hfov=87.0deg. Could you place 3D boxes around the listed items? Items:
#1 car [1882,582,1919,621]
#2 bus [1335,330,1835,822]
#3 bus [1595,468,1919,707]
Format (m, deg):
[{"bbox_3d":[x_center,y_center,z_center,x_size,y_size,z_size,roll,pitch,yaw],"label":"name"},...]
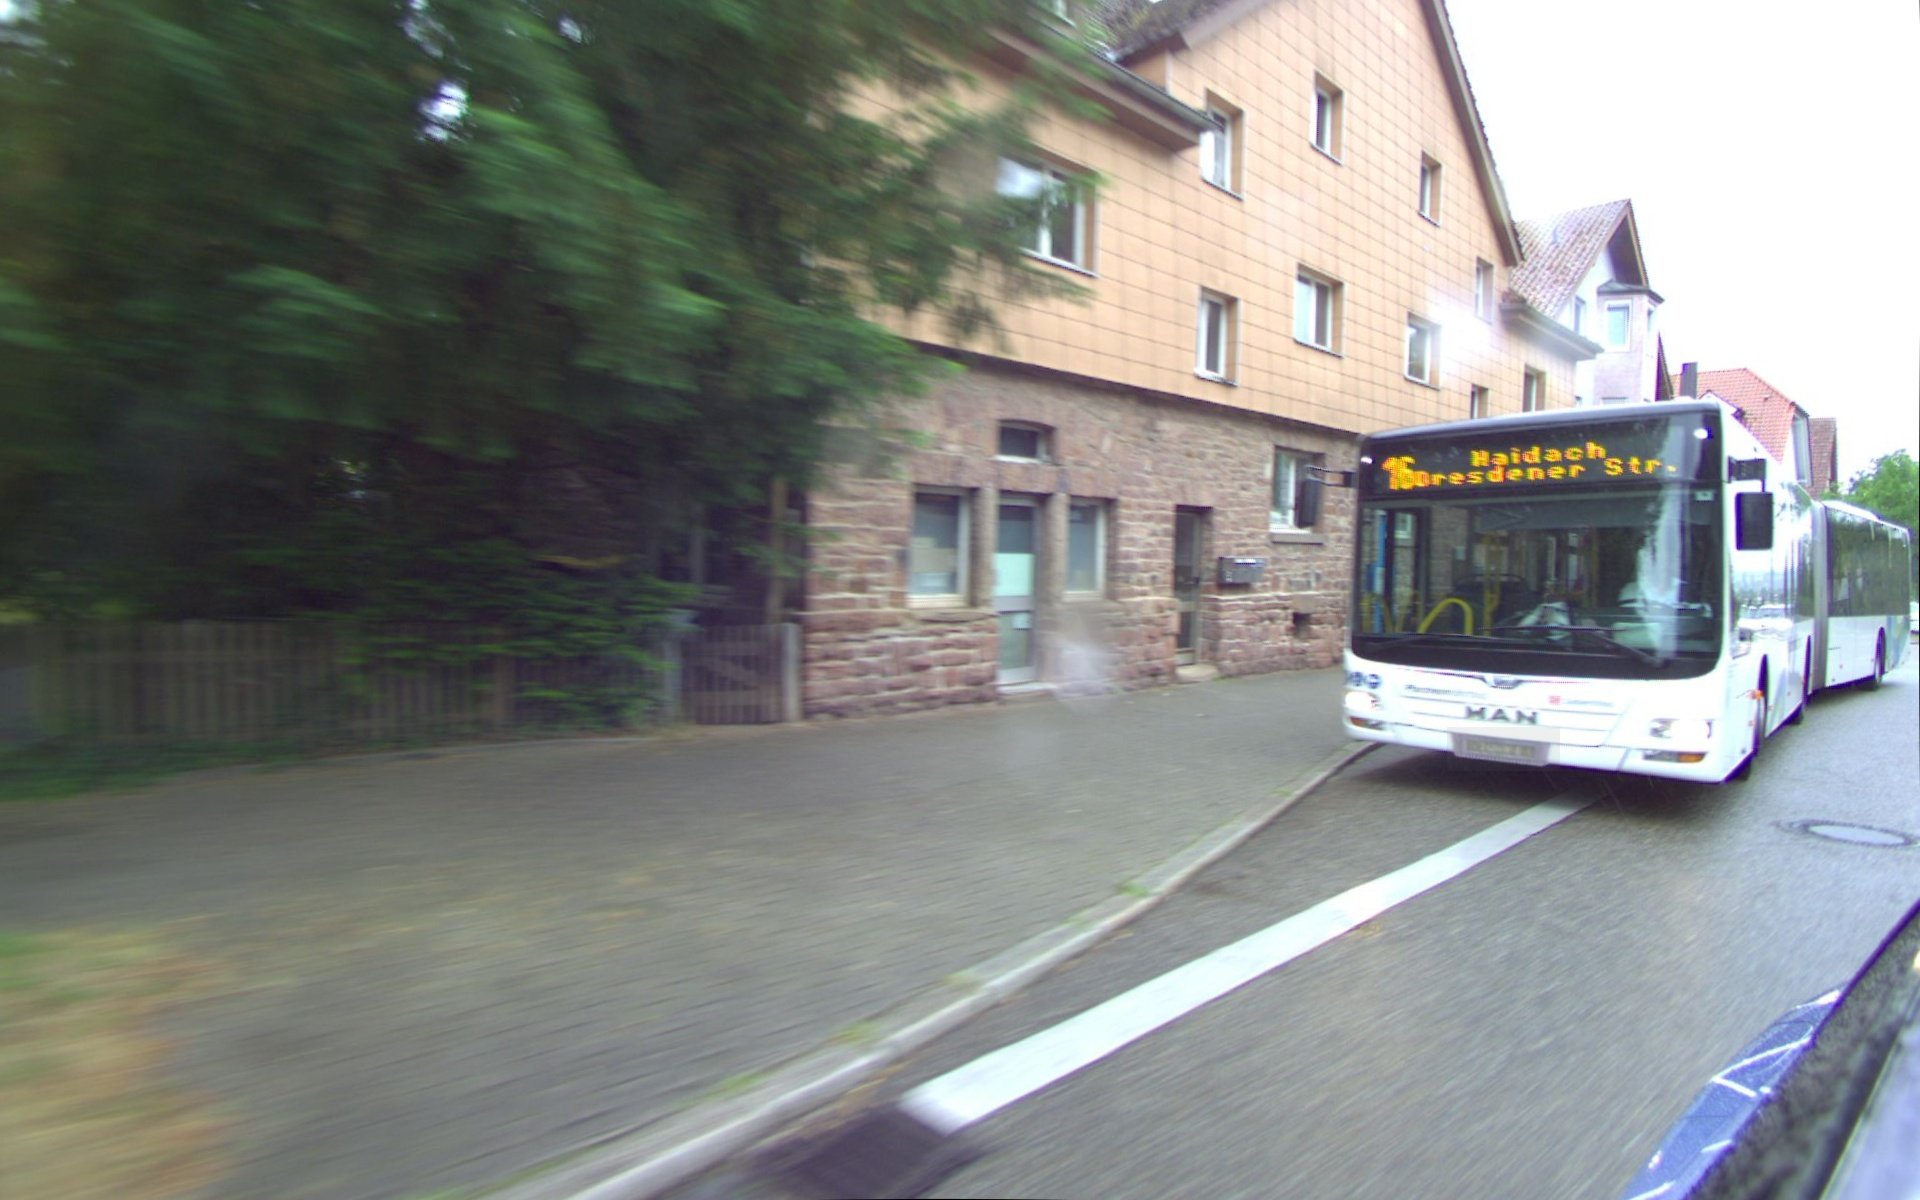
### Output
[{"bbox_3d":[45.061,0.080,47.815,4.410,1.681,1.924,0,4,-45],"label":"car"},{"bbox_3d":[7.070,-0.195,10.453,2.556,2.996,9.302,2,2,43],"label":"bus"},{"bbox_3d":[13.263,-0.187,16.405,8.406,2.996,2.561,0,1,-40],"label":"bus"}]
